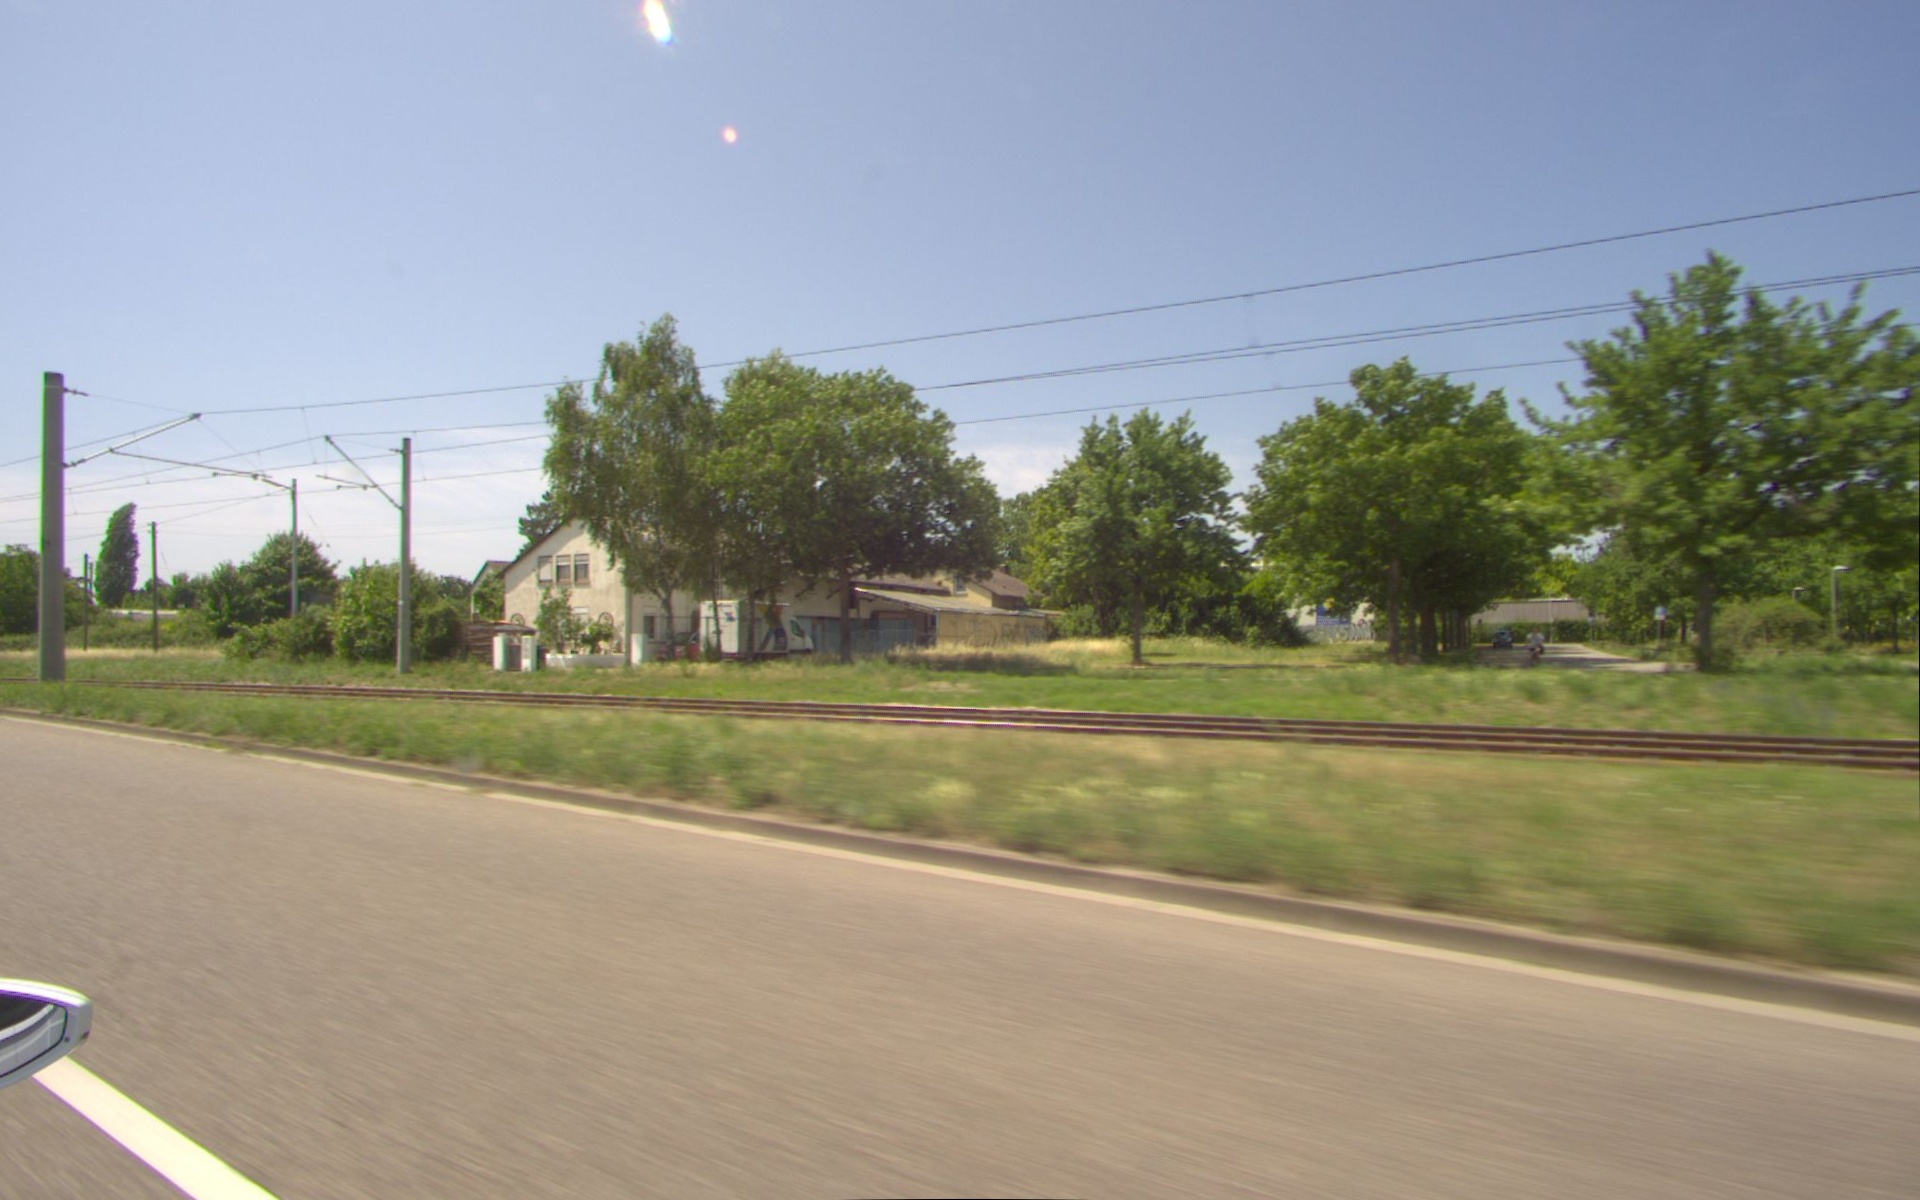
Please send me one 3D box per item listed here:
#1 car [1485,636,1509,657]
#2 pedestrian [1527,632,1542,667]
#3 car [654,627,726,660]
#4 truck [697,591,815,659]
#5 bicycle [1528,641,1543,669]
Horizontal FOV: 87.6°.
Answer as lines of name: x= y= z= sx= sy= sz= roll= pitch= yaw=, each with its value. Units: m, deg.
car: x=55.325 y=4.778 z=103.182 sx=1.968 sy=2.038 sz=3.990 roll=-1 pitch=-4 yaw=26
pedestrian: x=23.819 y=2.056 z=41.506 sx=0.451 sy=1.421 sz=0.583 roll=-1 pitch=-1 yaw=23
car: x=-13.073 y=2.093 z=48.710 sx=1.654 sy=1.529 sz=3.438 roll=-1 pitch=-2 yaw=22
truck: x=-9.122 y=1.119 z=45.428 sx=2.282 sy=2.880 sz=5.842 roll=-1 pitch=-1 yaw=24
bicycle: x=23.881 y=2.281 z=41.566 sx=0.424 sy=1.134 sz=1.576 roll=0 pitch=-2 yaw=26
